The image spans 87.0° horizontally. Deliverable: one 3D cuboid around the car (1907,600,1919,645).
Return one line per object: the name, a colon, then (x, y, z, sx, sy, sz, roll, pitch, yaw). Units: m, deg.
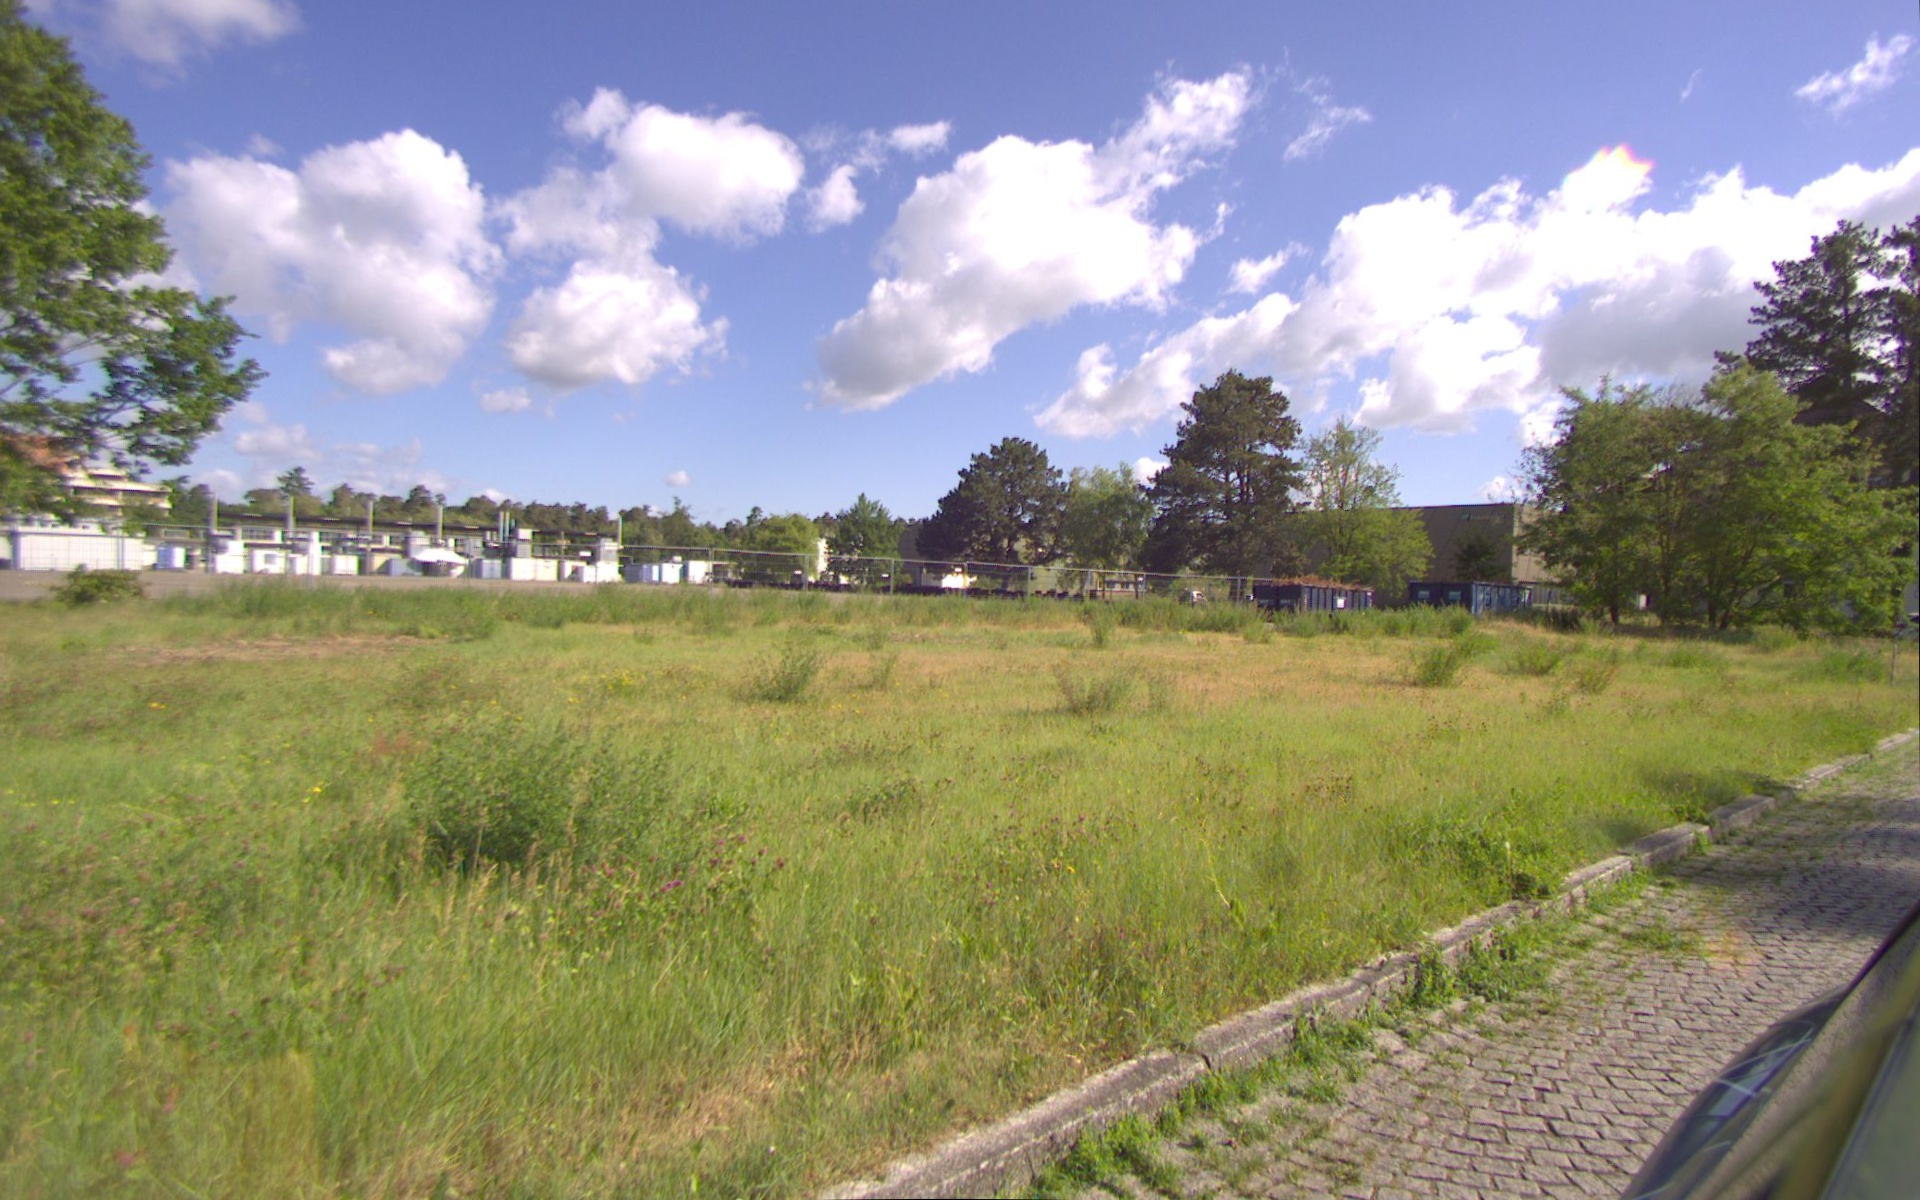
car: (34.278, 0.920, 33.716, 1.721, 1.494, 3.750, 1, 4, -41)

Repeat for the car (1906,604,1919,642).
car: (39.897, 1.057, 39.224, 1.807, 1.482, 4.522, 0, 4, -42)

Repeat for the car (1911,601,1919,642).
car: (36.293, 0.933, 35.510, 1.811, 1.458, 4.014, 1, 4, -41)
